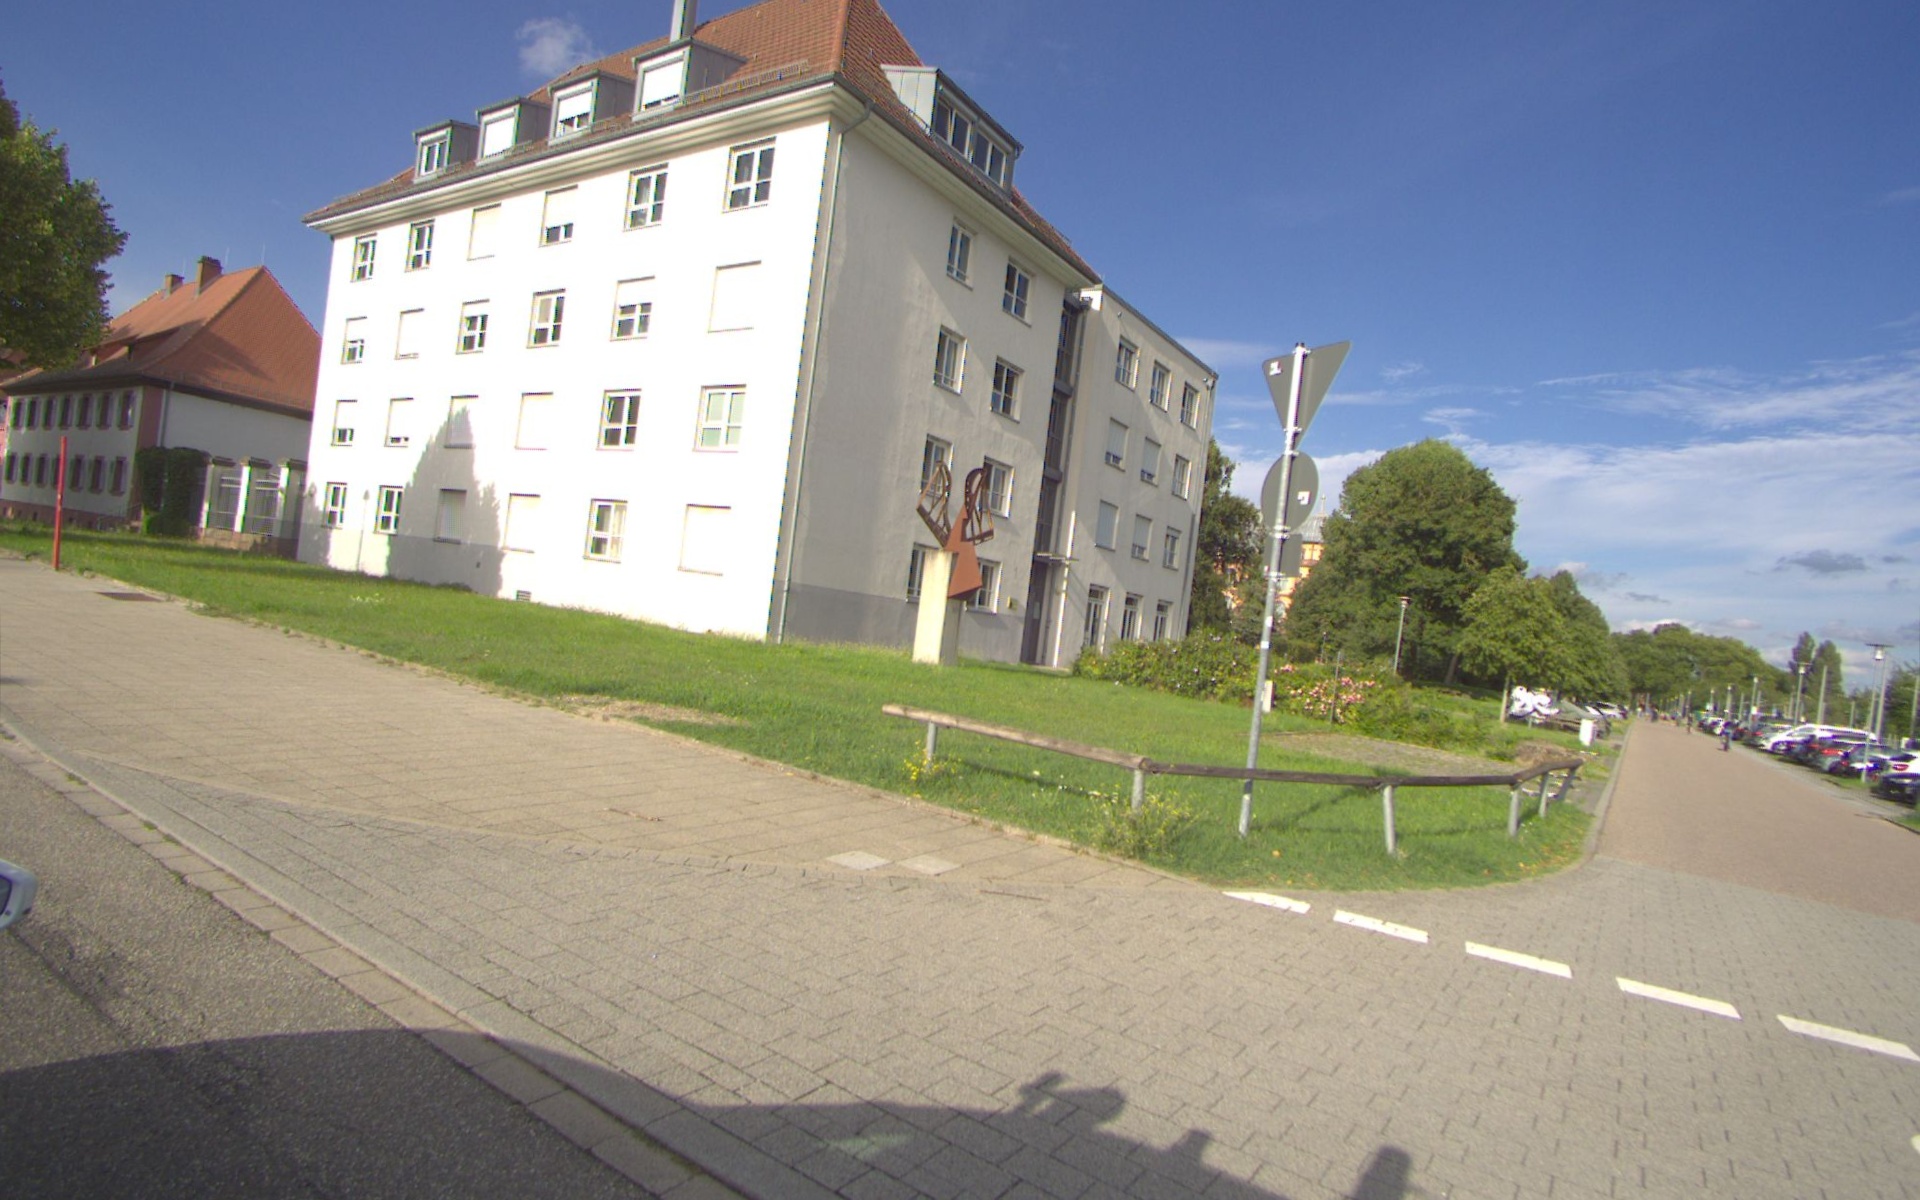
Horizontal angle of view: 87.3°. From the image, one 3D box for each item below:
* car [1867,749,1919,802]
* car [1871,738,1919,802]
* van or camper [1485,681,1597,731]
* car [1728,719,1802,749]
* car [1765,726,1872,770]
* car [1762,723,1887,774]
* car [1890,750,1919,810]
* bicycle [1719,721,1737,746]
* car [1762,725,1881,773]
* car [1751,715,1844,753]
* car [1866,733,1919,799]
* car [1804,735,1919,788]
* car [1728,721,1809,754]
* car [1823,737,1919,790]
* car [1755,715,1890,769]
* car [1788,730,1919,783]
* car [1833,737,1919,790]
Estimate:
[{"bbox_3d":[32.608,5.988,32.915,3.935,1.542,1.997,6,-2,33],"label":"car"},{"bbox_3d":[28.968,5.099,28.181,4.840,1.615,2.264,6,-1,39],"label":"car"},{"bbox_3d":[25.655,4.694,44.479,3.941,1.592,1.994,6,-2,38],"label":"van or camper"},{"bbox_3d":[60.255,10.002,75.369,3.934,1.590,1.997,7,-1,32],"label":"car"},{"bbox_3d":[46.125,7.926,54.168,3.934,1.590,1.997,7,-1,32],"label":"car"},{"bbox_3d":[39.543,6.775,46.139,3.934,1.590,1.997,7,-1,32],"label":"car"},{"bbox_3d":[27.631,5.065,26.128,4.840,1.517,2.080,6,-2,39],"label":"car"},{"bbox_3d":[40.498,7.039,53.070,0.629,1.178,1.754,6,-2,39],"label":"bicycle"},{"bbox_3d":[41.488,7.145,48.593,3.934,1.590,1.997,7,-1,32],"label":"car"},{"bbox_3d":[50.934,8.136,61.284,3.934,1.590,1.997,7,-1,32],"label":"car"},{"bbox_3d":[30.703,5.296,30.271,4.840,1.820,2.352,6,-2,39],"label":"car"},{"bbox_3d":[37.213,6.597,40.840,4.164,1.542,1.997,6,-2,33],"label":"car"},{"bbox_3d":[55.240,9.373,68.795,3.934,1.590,1.997,7,-1,32],"label":"car"},{"bbox_3d":[35.727,6.316,38.331,3.935,1.542,1.997,6,-2,33],"label":"car"},{"bbox_3d":[48.455,7.959,56.708,5.341,2.074,1.996,7,-1,32],"label":"car"},{"bbox_3d":[38.219,6.647,43.087,3.935,1.542,1.713,6,-2,33],"label":"car"},{"bbox_3d":[34.225,6.008,36.131,3.935,1.542,1.997,6,-2,33],"label":"car"}]
